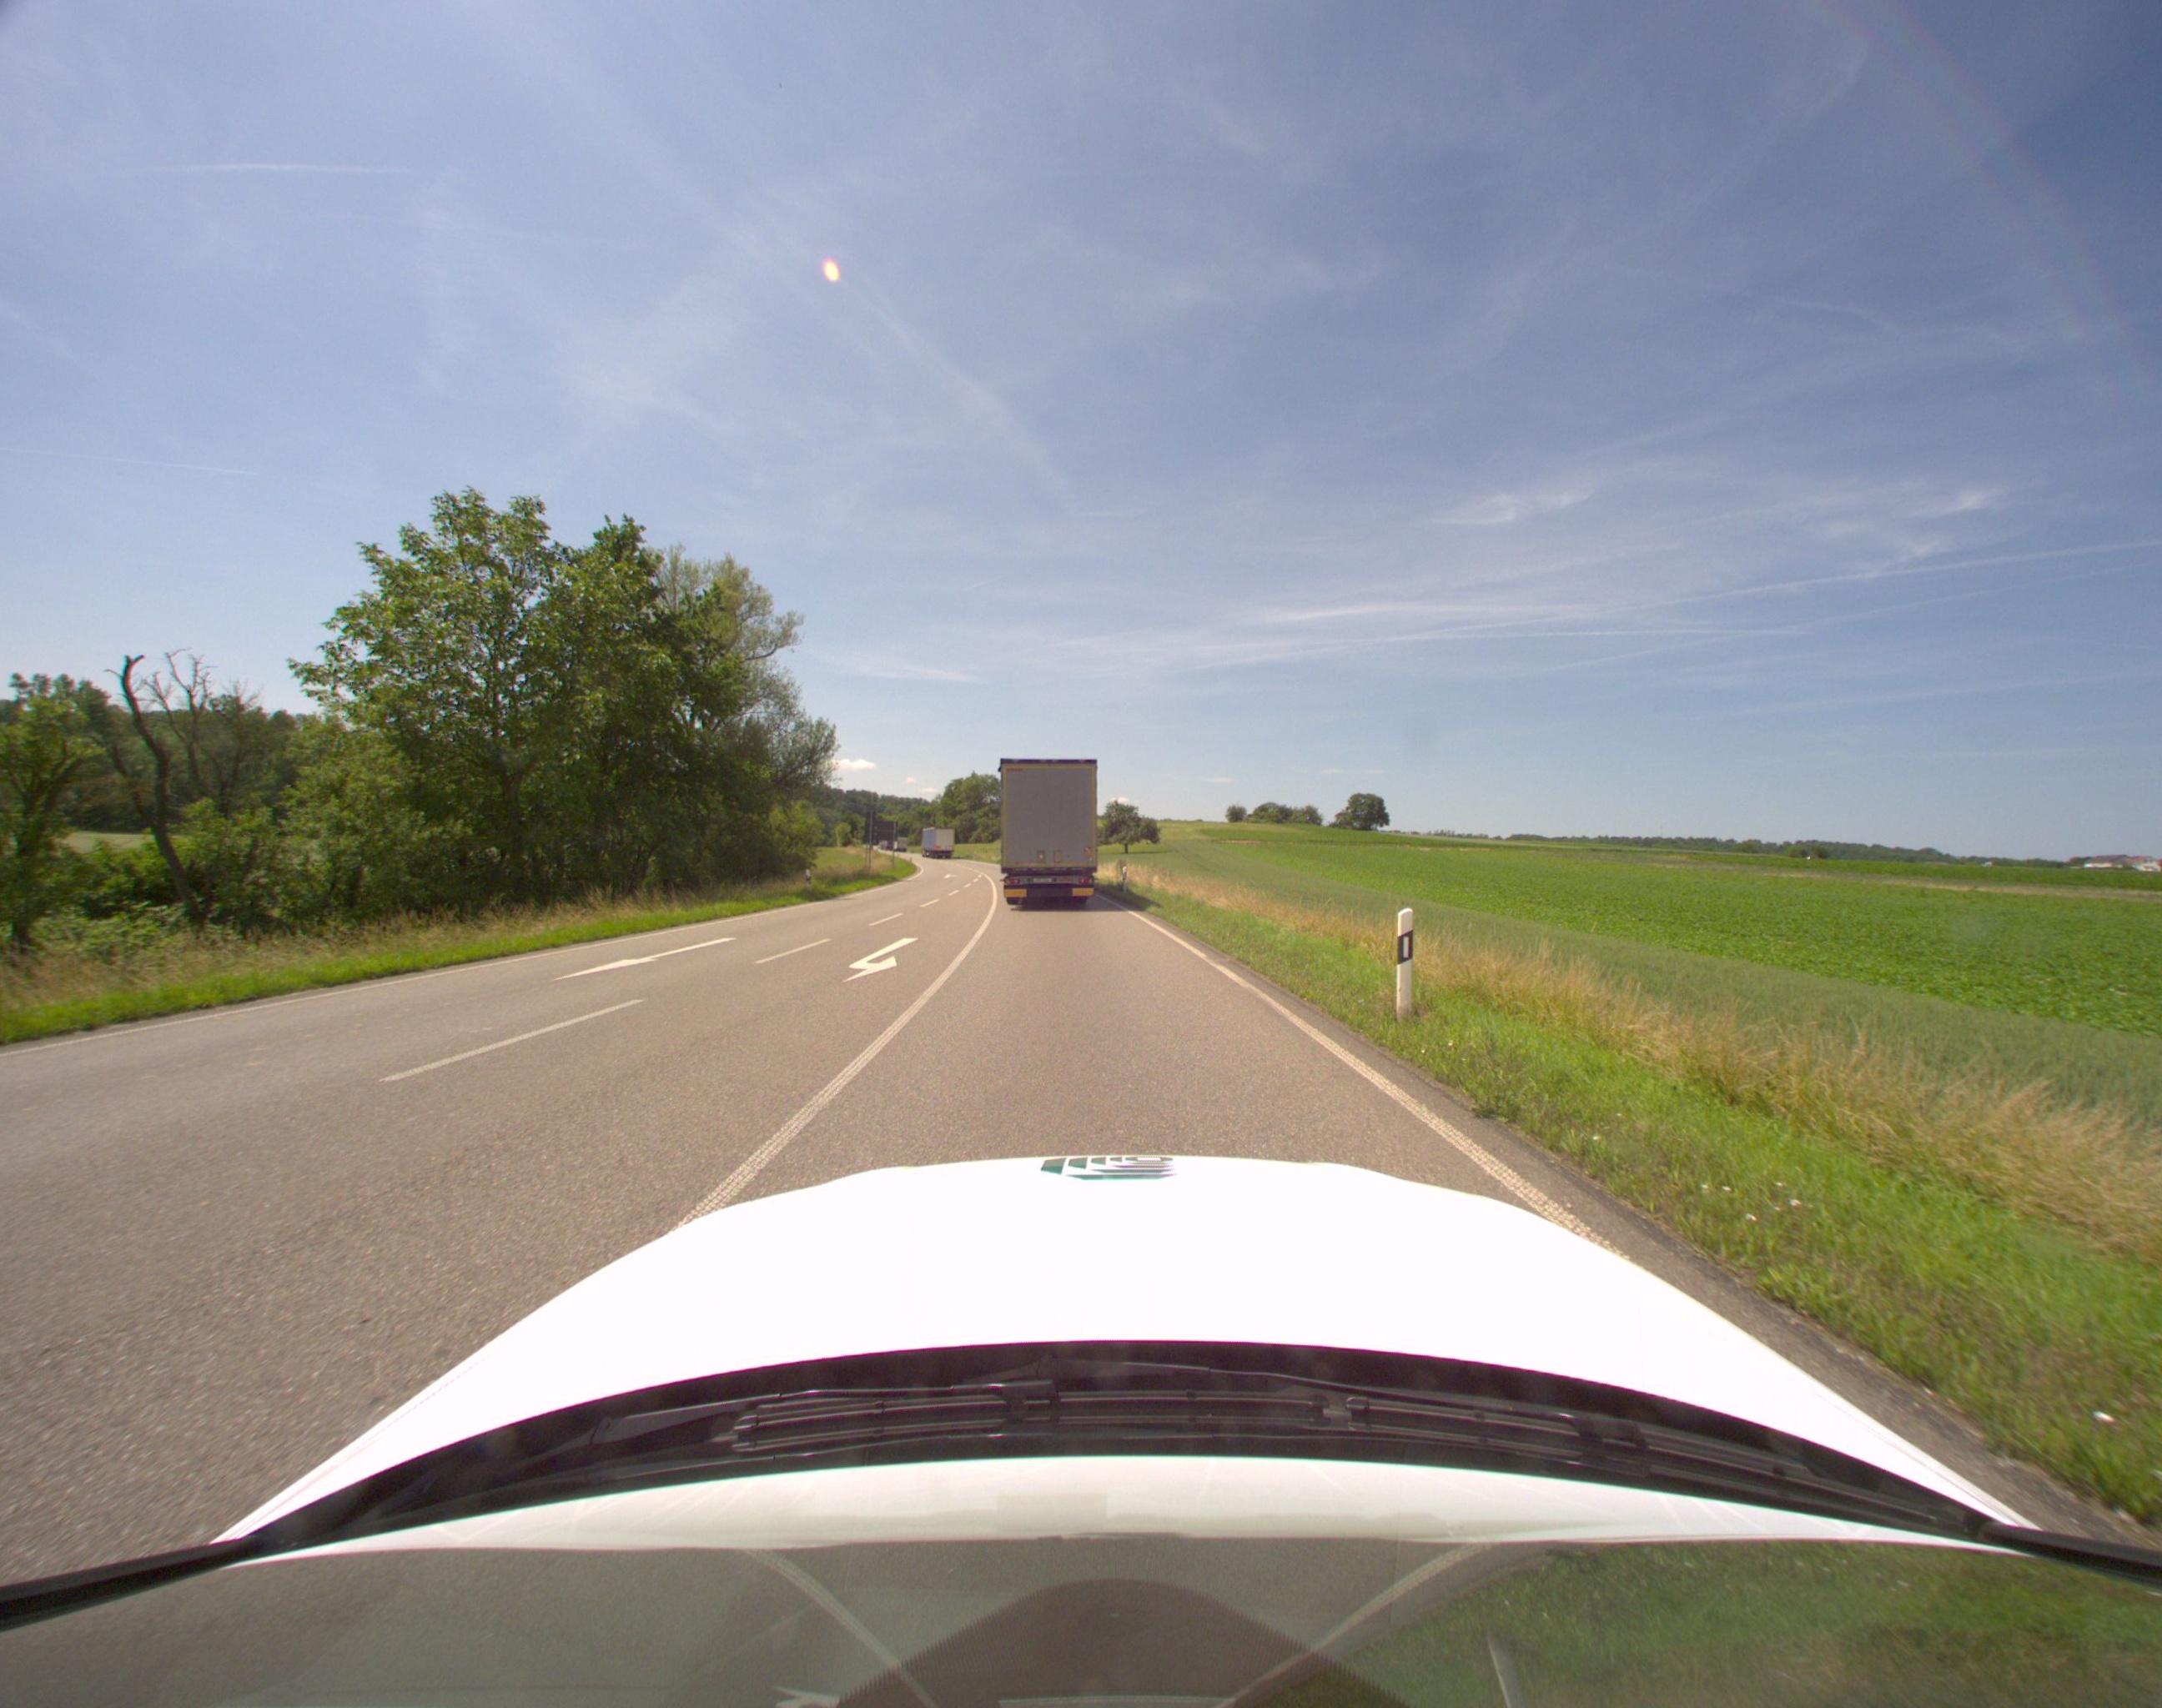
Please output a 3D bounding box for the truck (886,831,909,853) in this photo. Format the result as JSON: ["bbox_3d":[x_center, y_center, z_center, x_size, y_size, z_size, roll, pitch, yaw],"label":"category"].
[{"bbox_3d":[-37.812,-2.391,167.516,3.645,4.130,13.021,2,-2,-17],"label":"truck"}]

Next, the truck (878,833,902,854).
[{"bbox_3d":[-43.110,-2.230,183.767,3.541,4.241,13.313,3,-2,-20],"label":"truck"}]

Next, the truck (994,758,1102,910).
[{"bbox_3d":[-1.237,-0.542,26.102,2.803,3.946,9.574,0,0,-5],"label":"truck"}]

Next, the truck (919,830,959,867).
[{"bbox_3d":[-19.572,-0.859,111.337,2.969,4.583,16.216,2,1,-18],"label":"truck"}]
